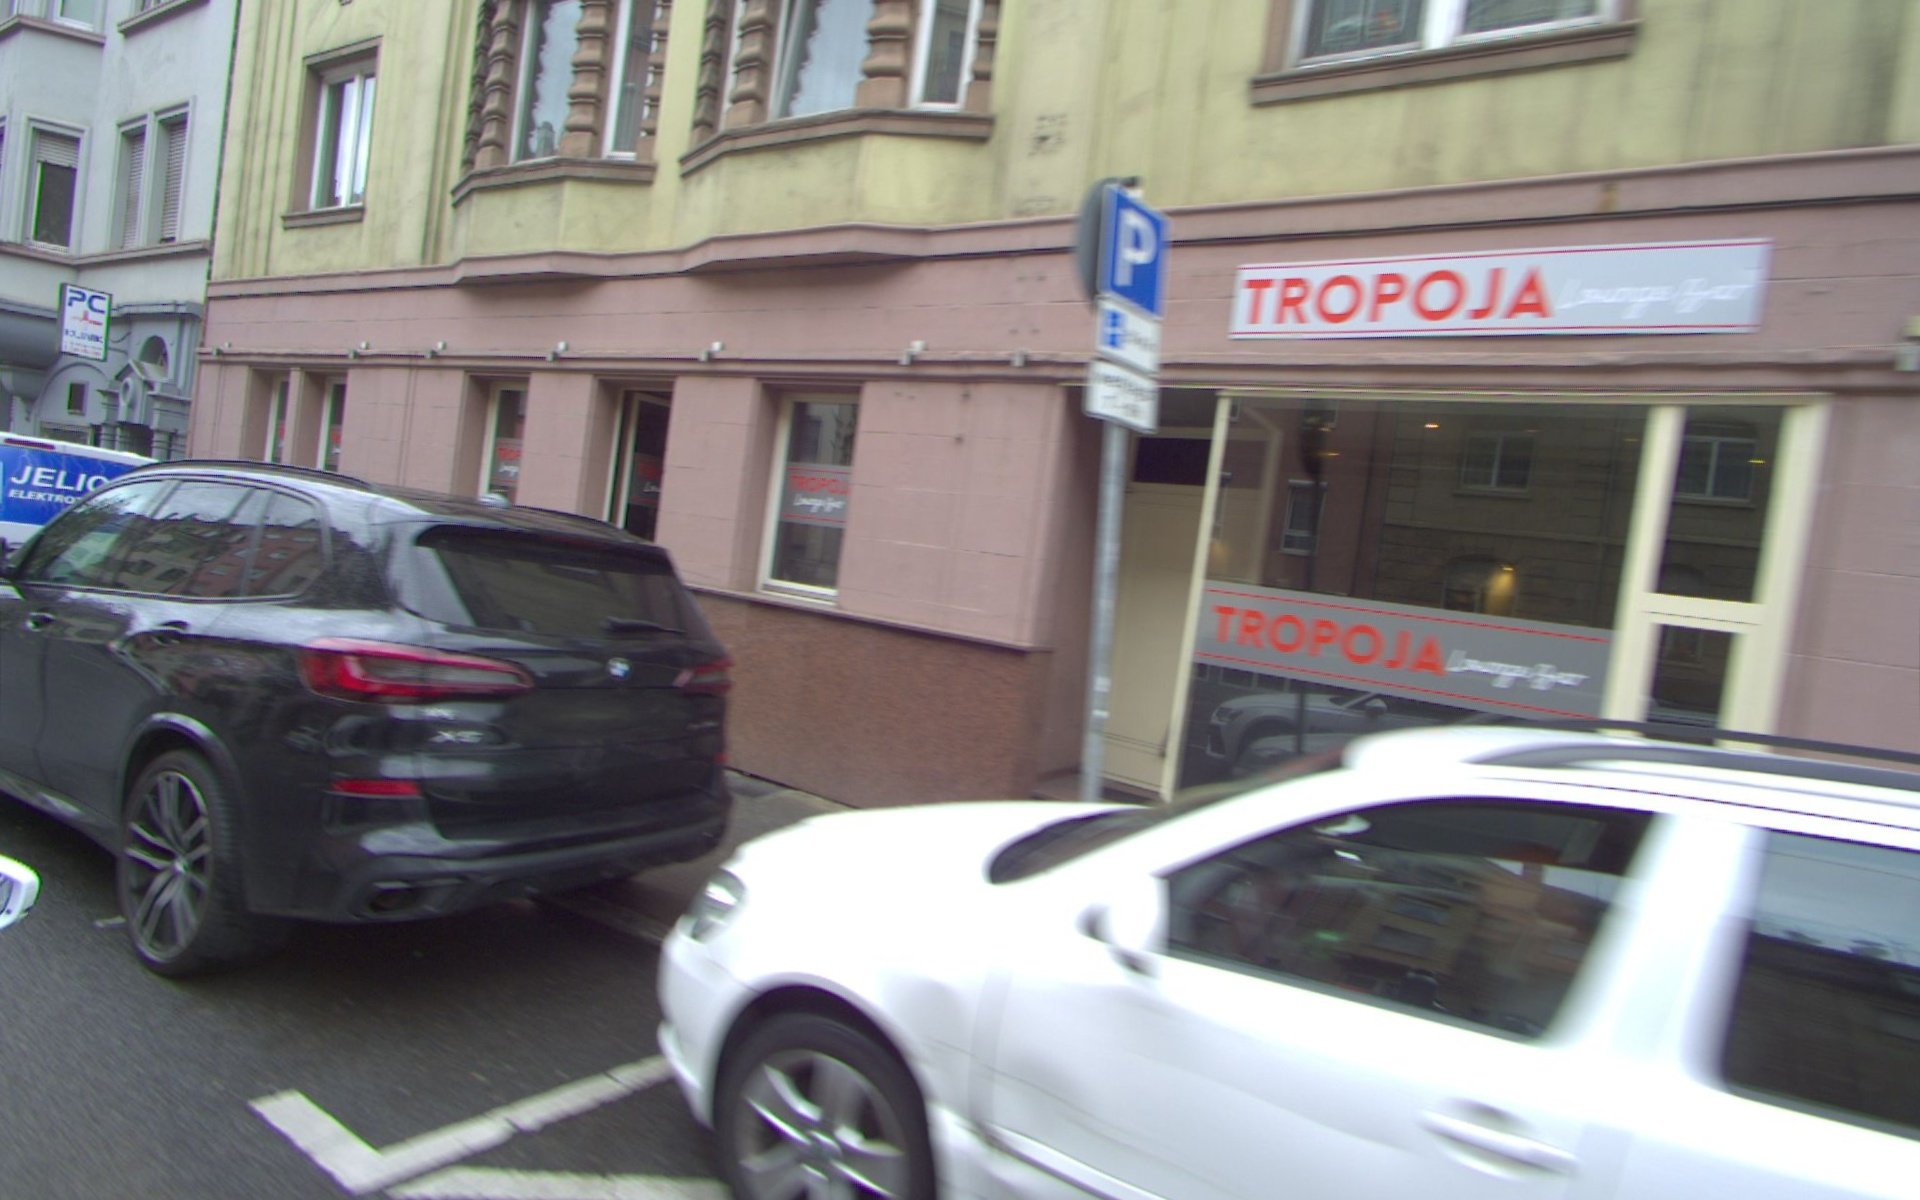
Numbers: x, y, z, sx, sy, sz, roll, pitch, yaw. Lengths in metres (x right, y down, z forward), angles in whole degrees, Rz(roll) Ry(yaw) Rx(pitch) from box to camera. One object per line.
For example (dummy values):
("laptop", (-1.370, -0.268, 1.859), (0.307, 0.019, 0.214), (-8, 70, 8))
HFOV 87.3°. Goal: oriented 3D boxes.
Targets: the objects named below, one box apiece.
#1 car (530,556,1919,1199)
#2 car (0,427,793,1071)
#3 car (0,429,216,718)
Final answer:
("car", (1.294, 0.969, 2.297), (4.417, 1.582, 1.803), (6, -2, 31))
("car", (-3.250, 0.288, 4.749), (4.600, 1.751, 1.882), (6, -2, 32))
("car", (-8.141, -0.377, 7.919), (4.926, 1.850, 1.921), (6, 1, 32))
